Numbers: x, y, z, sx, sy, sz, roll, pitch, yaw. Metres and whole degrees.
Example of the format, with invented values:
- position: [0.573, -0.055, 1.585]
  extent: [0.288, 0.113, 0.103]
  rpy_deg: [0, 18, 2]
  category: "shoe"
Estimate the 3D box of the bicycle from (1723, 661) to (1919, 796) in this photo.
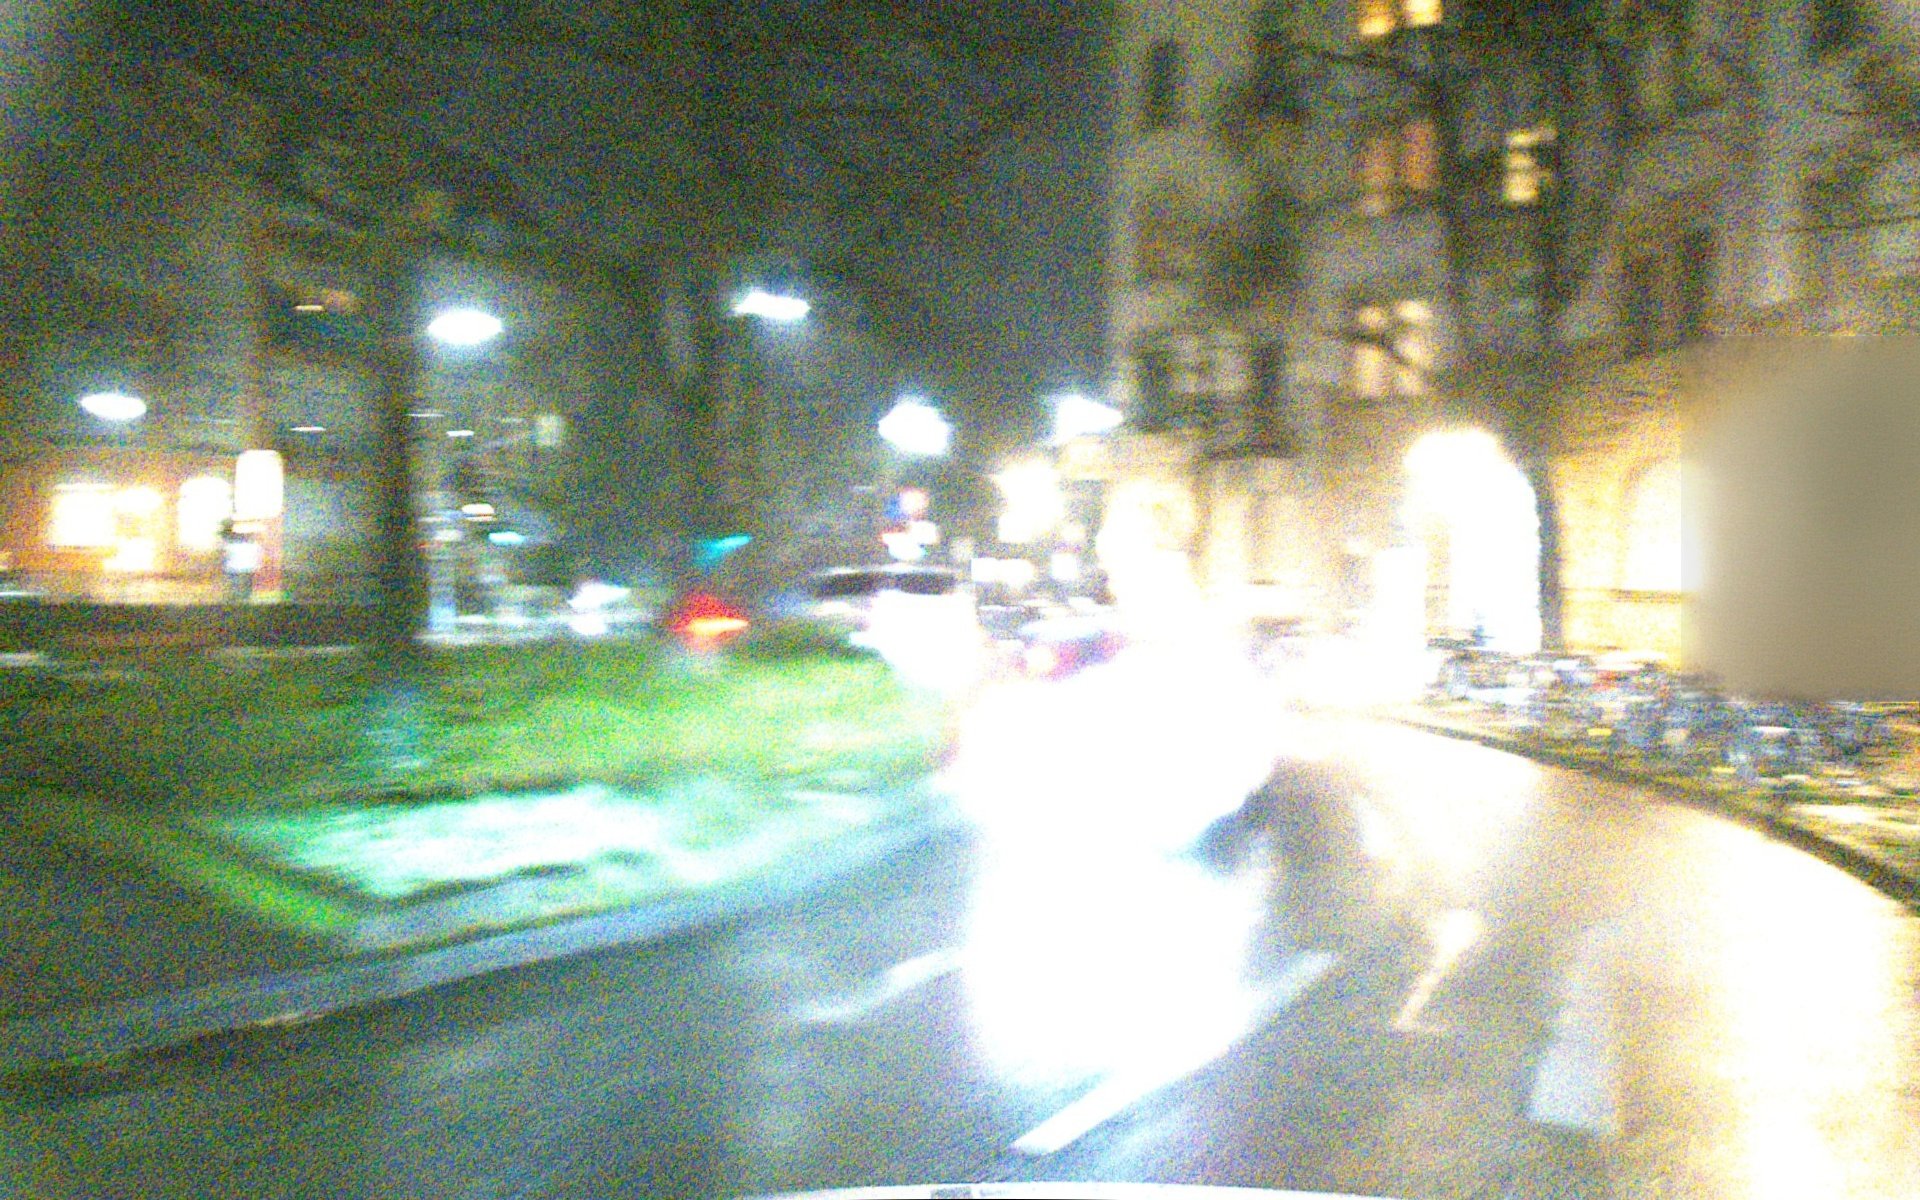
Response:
- position: [7.600, 1.106, 14.349]
  extent: [1.693, 1.078, 0.451]
  rpy_deg: [2, 0, 11]
  category: "bicycle"

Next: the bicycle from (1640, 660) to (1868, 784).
- position: [7.525, 1.152, 15.723]
  extent: [1.890, 1.078, 0.451]
  rpy_deg: [1, 0, 5]
  category: "bicycle"

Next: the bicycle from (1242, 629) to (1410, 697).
- position: [6.085, 1.047, 27.510]
  extent: [2.723, 1.044, 0.722]
  rpy_deg: [2, 0, -18]
  category: "bicycle"

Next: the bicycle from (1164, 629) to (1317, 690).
- position: [5.145, 1.089, 30.298]
  extent: [2.723, 1.044, 0.722]
  rpy_deg: [2, 0, -18]
  category: "bicycle"

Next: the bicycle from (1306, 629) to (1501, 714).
- position: [6.618, 1.062, 24.775]
  extent: [2.708, 1.149, 0.725]
  rpy_deg: [2, 0, 6]
  category: "bicycle"

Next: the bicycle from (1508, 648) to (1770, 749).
- position: [7.894, 1.134, 19.325]
  extent: [2.708, 1.044, 0.725]
  rpy_deg: [2, 0, 6]
  category: "bicycle"

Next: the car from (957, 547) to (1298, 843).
- position: [1.303, 0.610, 11.369]
  extent: [1.694, 1.642, 3.463]
  rpy_deg: [2, -2, 16]
  category: "car"

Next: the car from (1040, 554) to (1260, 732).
- position: [2.088, 0.506, 19.289]
  extent: [1.953, 1.758, 3.998]
  rpy_deg: [3, -2, -1]
  category: "car"

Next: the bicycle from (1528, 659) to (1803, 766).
- position: [7.835, 1.239, 18.463]
  extent: [2.708, 1.044, 0.725]
  rpy_deg: [2, 0, 6]
  category: "bicycle"

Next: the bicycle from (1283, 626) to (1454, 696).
- position: [6.496, 0.977, 26.280]
  extent: [2.728, 1.044, 0.720]
  rpy_deg: [2, 0, -22]
  category: "bicycle"

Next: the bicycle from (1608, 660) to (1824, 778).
- position: [7.522, 1.175, 16.497]
  extent: [1.890, 1.078, 0.451]
  rpy_deg: [1, 0, 5]
  category: "bicycle"

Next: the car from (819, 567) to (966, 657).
- position: [-1.520, 0.277, 35.848]
  extent: [1.965, 1.758, 3.975]
  rpy_deg: [3, -2, -21]
  category: "car"

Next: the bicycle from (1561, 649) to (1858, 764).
- position: [7.765, 1.091, 17.229]
  extent: [2.708, 1.044, 0.725]
  rpy_deg: [2, 0, 6]
  category: "bicycle"

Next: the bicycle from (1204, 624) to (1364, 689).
- position: [5.660, 0.988, 28.852]
  extent: [2.723, 1.044, 0.722]
  rpy_deg: [2, 0, -18]
  category: "bicycle"
